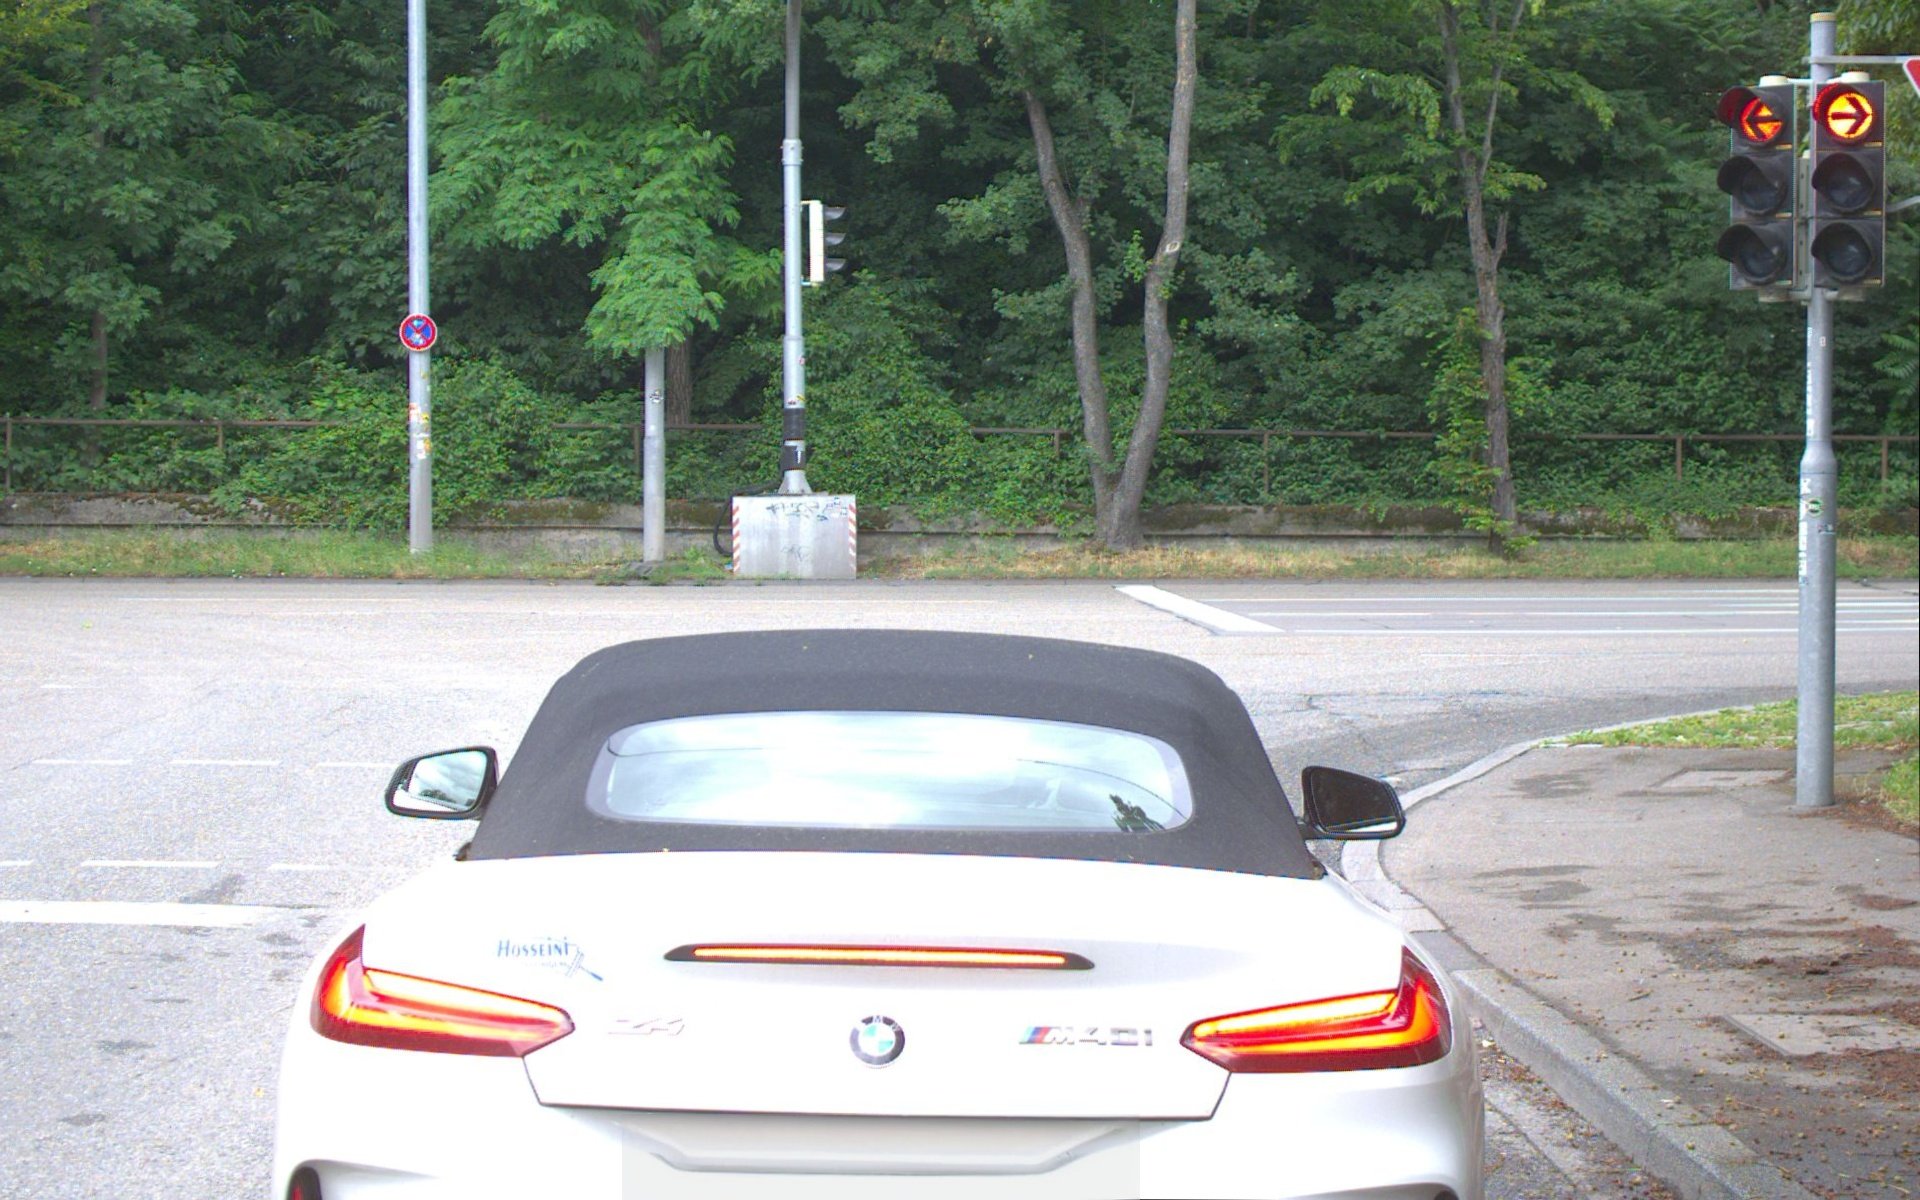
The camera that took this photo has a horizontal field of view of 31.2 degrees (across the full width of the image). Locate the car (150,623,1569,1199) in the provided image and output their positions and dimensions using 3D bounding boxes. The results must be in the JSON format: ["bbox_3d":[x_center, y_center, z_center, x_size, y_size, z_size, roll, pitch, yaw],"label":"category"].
[{"bbox_3d":[-0.223,0.698,6.470,1.827,1.253,4.000,2,0,-3],"label":"car"}]
